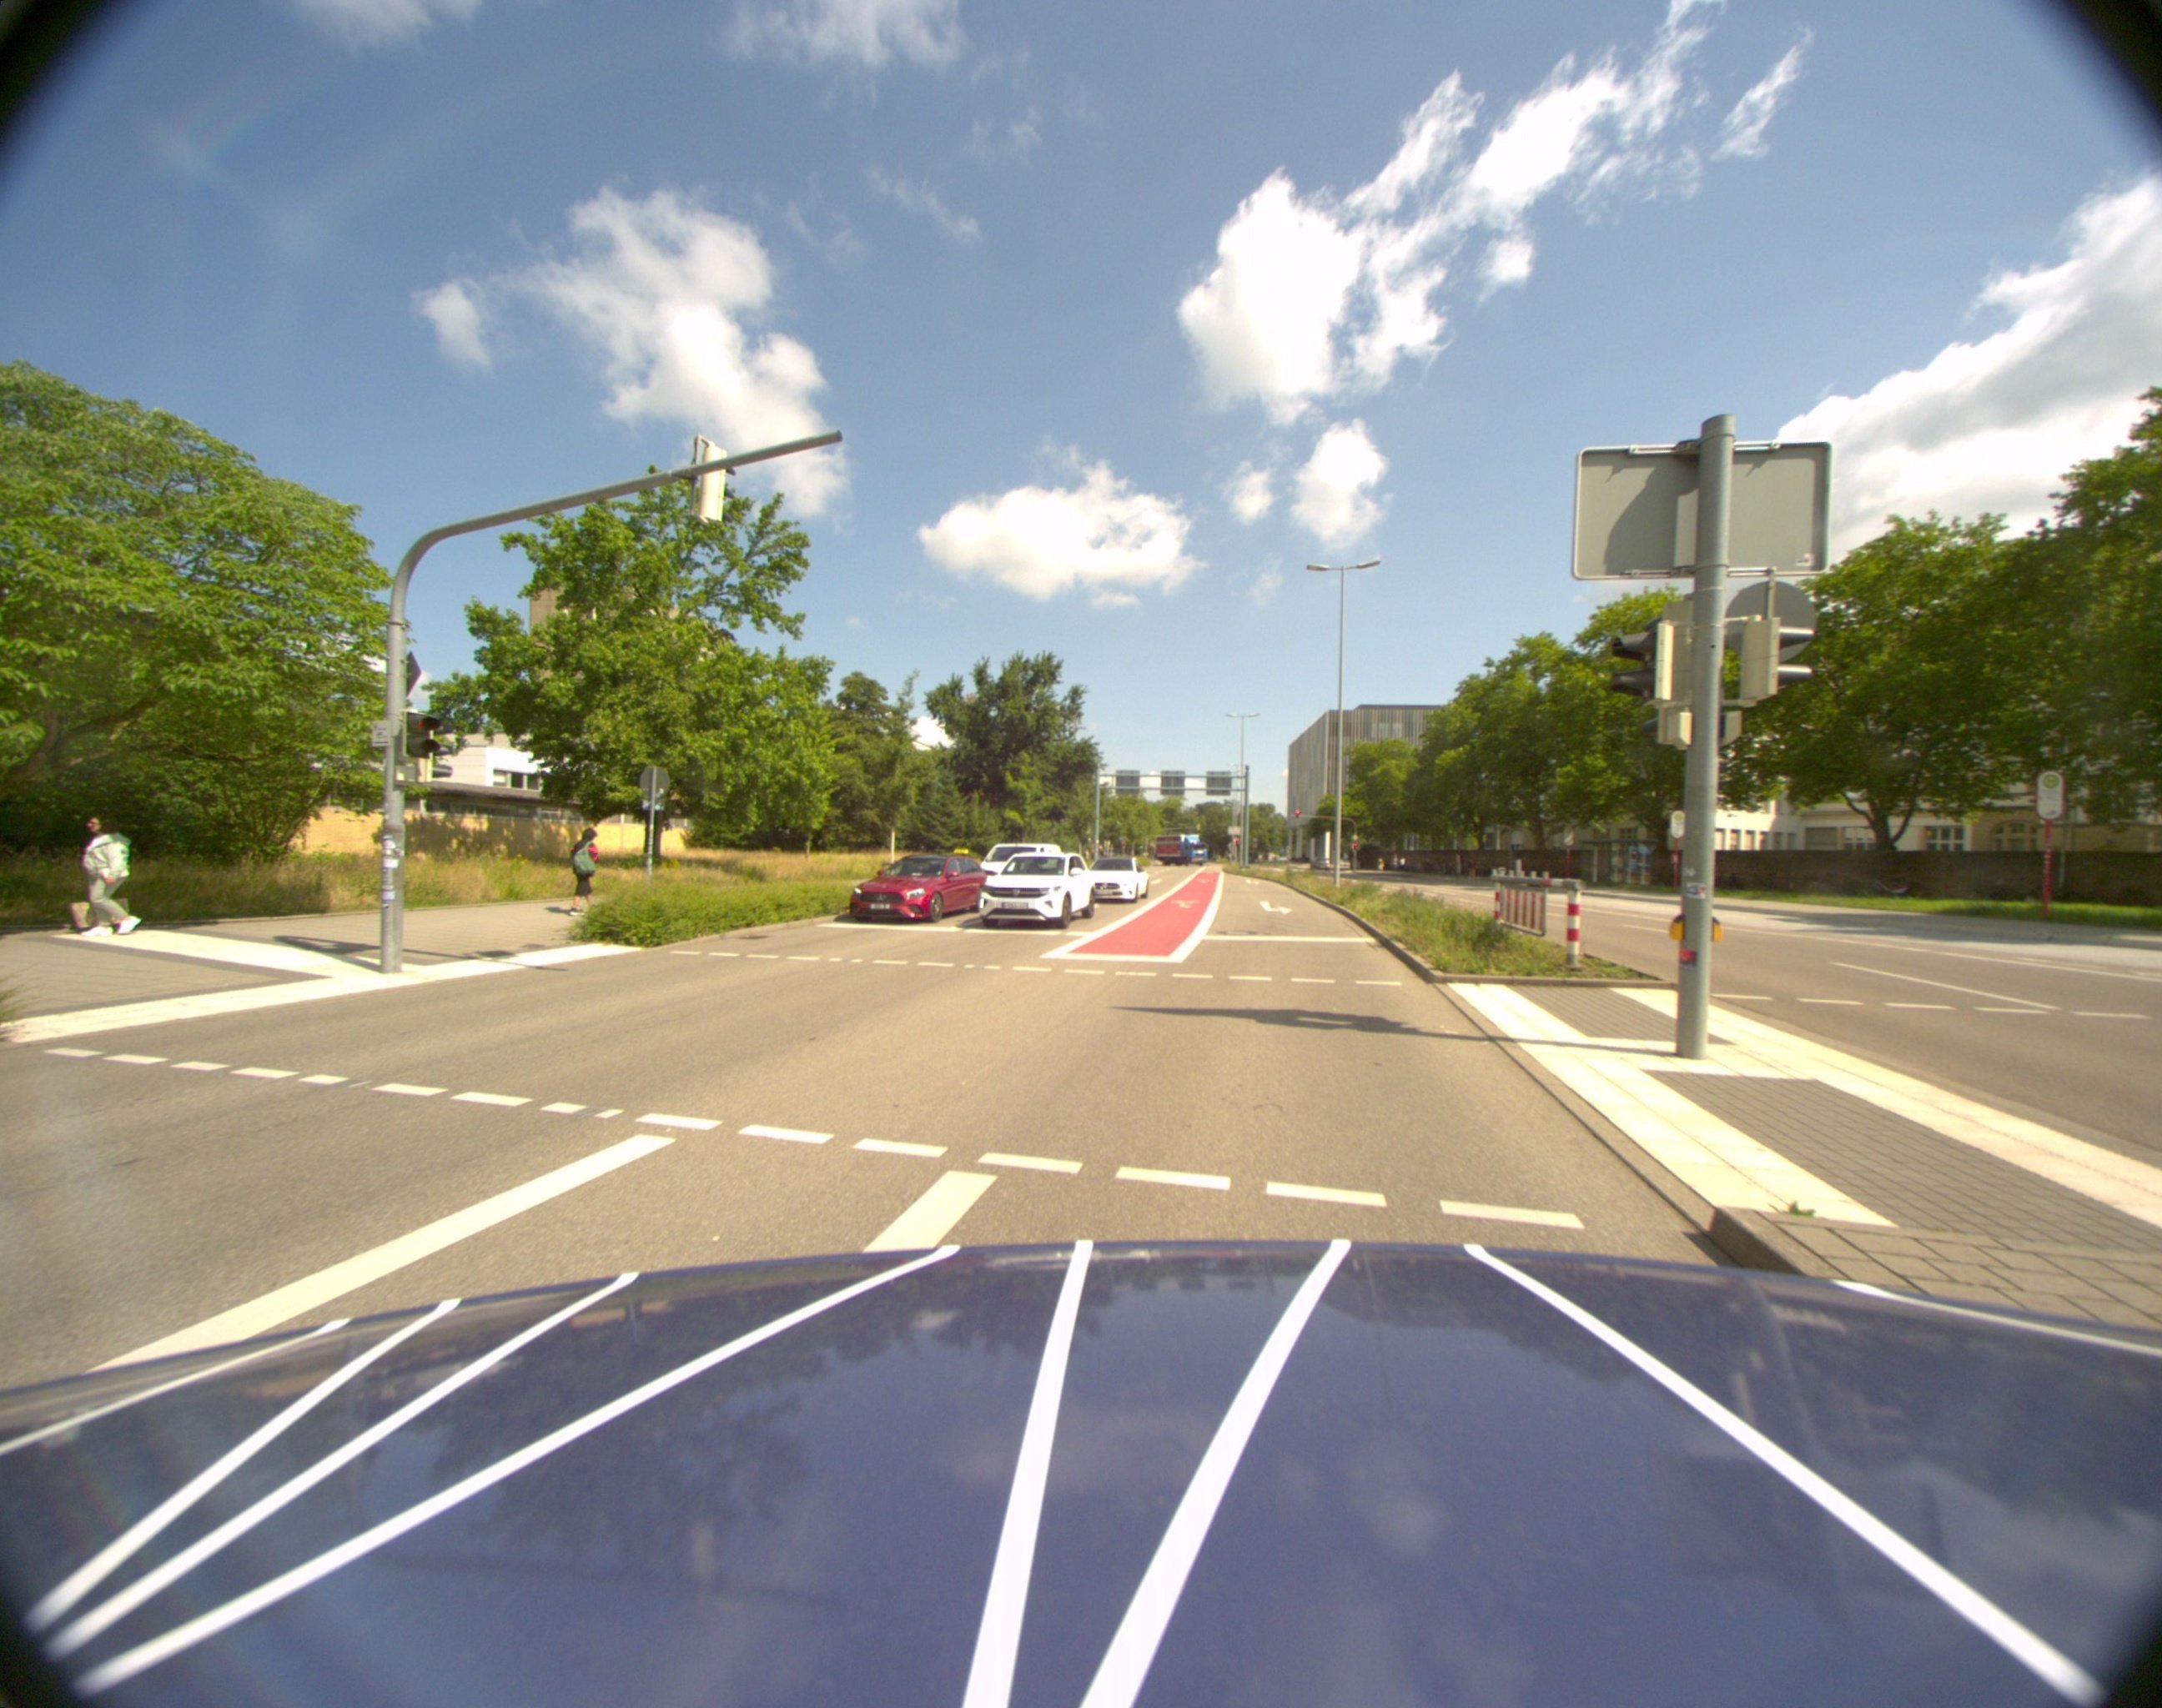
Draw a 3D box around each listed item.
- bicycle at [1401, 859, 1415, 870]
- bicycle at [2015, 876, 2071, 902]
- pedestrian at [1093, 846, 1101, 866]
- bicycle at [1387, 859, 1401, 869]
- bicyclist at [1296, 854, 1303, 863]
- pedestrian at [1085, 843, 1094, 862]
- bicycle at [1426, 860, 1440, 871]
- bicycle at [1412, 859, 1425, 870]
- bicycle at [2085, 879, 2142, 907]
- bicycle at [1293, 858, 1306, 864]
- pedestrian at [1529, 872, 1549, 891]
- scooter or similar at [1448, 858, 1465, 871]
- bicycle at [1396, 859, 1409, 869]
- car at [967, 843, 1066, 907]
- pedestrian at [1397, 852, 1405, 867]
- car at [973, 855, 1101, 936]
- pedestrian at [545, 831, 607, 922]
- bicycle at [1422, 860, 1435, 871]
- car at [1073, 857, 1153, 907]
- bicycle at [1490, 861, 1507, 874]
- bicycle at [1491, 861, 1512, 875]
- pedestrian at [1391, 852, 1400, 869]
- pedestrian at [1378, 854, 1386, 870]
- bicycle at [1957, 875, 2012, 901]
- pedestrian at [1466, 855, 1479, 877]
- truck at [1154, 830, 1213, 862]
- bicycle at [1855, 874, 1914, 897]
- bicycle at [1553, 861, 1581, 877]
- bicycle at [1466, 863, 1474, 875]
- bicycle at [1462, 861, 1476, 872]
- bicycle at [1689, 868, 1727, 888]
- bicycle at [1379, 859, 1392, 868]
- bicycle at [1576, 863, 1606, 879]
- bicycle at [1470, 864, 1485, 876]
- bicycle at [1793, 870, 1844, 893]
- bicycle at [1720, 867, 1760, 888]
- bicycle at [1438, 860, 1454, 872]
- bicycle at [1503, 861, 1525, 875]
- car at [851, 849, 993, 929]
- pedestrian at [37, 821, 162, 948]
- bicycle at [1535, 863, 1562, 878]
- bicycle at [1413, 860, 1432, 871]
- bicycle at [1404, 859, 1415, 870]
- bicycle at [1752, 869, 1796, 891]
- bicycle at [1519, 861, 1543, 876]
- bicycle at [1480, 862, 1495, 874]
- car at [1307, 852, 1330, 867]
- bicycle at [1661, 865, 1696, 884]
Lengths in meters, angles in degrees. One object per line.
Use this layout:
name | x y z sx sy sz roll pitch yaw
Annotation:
bicycle | 32.865 1.077 76.270 0.593 1.042 1.881 1 0 1
bicycle | 38.918 1.409 30.765 0.392 1.005 1.369 1 0 -10
pedestrian | 1.395 0.184 66.716 0.568 1.791 0.639 1 1 10
bicycle | 33.816 1.073 82.105 0.631 1.042 1.881 1 0 1
bicyclist | 34.365 0.716 119.577 0.944 1.456 0.633 2 1 42
pedestrian | 0.719 -0.135 66.573 0.624 1.572 0.709 1 1 10
bicycle | 33.241 1.080 71.728 0.395 1.042 1.881 1 0 1
bicycle | 33.512 1.054 75.448 0.371 1.042 1.881 1 0 1
bicycle | 39.429 1.481 29.033 0.353 1.005 1.253 1 0 -10
bicycle | 34.409 1.042 119.530 1.770 0.887 0.639 1 0 42
pedestrian | 24.092 1.439 39.985 0.695 0.957 0.743 1 1 9
scooter or similar | 33.522 0.925 67.803 0.581 1.042 1.881 1 0 1
bicycle | 33.838 1.061 80.098 0.565 1.042 1.881 1 0 1
car | -1.996 0.627 25.078 1.945 1.859 4.829 1 0 12
pedestrian | 32.657 0.594 77.558 0.477 1.531 0.616 1 1 5
car | -0.809 0.793 16.595 1.794 1.530 4.014 0 0 11
pedestrian | -9.888 0.428 14.901 0.743 1.725 0.679 1 1 14
bicycle | 32.832 1.074 71.746 0.373 1.042 1.881 1 0 1
car | 1.154 0.845 24.858 1.907 1.415 4.389 1 0 12
bicycle | 33.750 1.096 61.468 0.371 0.949 1.626 1 0 -5
bicycle | 33.402 1.134 60.406 0.584 1.067 1.755 1 0 -5
pedestrian | 32.020 0.669 77.399 0.642 1.641 0.731 1 1 5
pedestrian | 32.416 0.857 81.898 0.561 1.641 0.727 1 1 5
bicycle | 38.458 1.445 32.354 0.472 1.005 1.454 1 0 -10
pedestrian | 28.836 0.900 55.963 0.657 1.600 0.745 0 1 11
truck | 12.982 -1.038 96.964 2.670 3.777 9.168 1 1 -27
bicycle | 37.658 1.454 35.645 0.472 1.005 1.962 1 0 -10
bicycle | 34.241 1.062 53.506 0.584 1.067 1.754 1 0 -11
bicycle | 32.879 1.271 64.285 0.367 0.949 1.627 1 0 19
bicycle | 33.654 1.073 65.974 0.367 0.949 1.401 1 0 -5
bicycle | 35.837 1.349 43.440 0.584 1.067 1.629 1 0 -11
bicycle | 33.955 1.046 84.790 0.631 1.042 1.881 1 0 1
bicycle | 34.510 1.151 51.410 0.584 1.067 1.754 1 0 -11
bicycle | 33.672 1.341 64.511 0.367 0.949 1.401 1 0 -5
bicycle | 36.933 1.366 38.067 0.584 1.067 1.869 1 0 -7
bicycle | 36.152 1.282 41.714 0.584 1.067 1.629 1 0 -11
bicycle | 33.491 1.105 69.718 0.581 1.042 1.881 1 0 1
bicycle | 33.714 1.059 59.169 0.584 1.067 1.755 1 0 -5
car | -3.579 0.717 17.996 1.683 1.631 4.466 1 0 11
pedestrian | -13.224 0.393 10.254 0.869 1.629 0.721 1 1 12
bicycle | 34.055 1.175 55.368 0.584 1.067 1.754 1 0 -11
bicycle | 33.120 1.093 73.703 0.594 1.042 1.878 1 0 -15
bicycle | 33.516 1.082 77.536 0.371 1.042 1.881 1 0 1
bicycle | 36.506 1.359 40.045 0.584 1.067 1.629 1 0 -11
bicycle | 33.898 1.060 57.273 0.584 1.067 1.754 1 0 -7
bicycle | 33.701 1.124 63.031 0.367 0.949 1.401 1 0 -5
car | 24.562 0.588 78.734 1.703 1.436 4.149 2 1 10
bicycle | 35.490 1.209 45.146 0.584 1.067 1.629 1 0 -11
